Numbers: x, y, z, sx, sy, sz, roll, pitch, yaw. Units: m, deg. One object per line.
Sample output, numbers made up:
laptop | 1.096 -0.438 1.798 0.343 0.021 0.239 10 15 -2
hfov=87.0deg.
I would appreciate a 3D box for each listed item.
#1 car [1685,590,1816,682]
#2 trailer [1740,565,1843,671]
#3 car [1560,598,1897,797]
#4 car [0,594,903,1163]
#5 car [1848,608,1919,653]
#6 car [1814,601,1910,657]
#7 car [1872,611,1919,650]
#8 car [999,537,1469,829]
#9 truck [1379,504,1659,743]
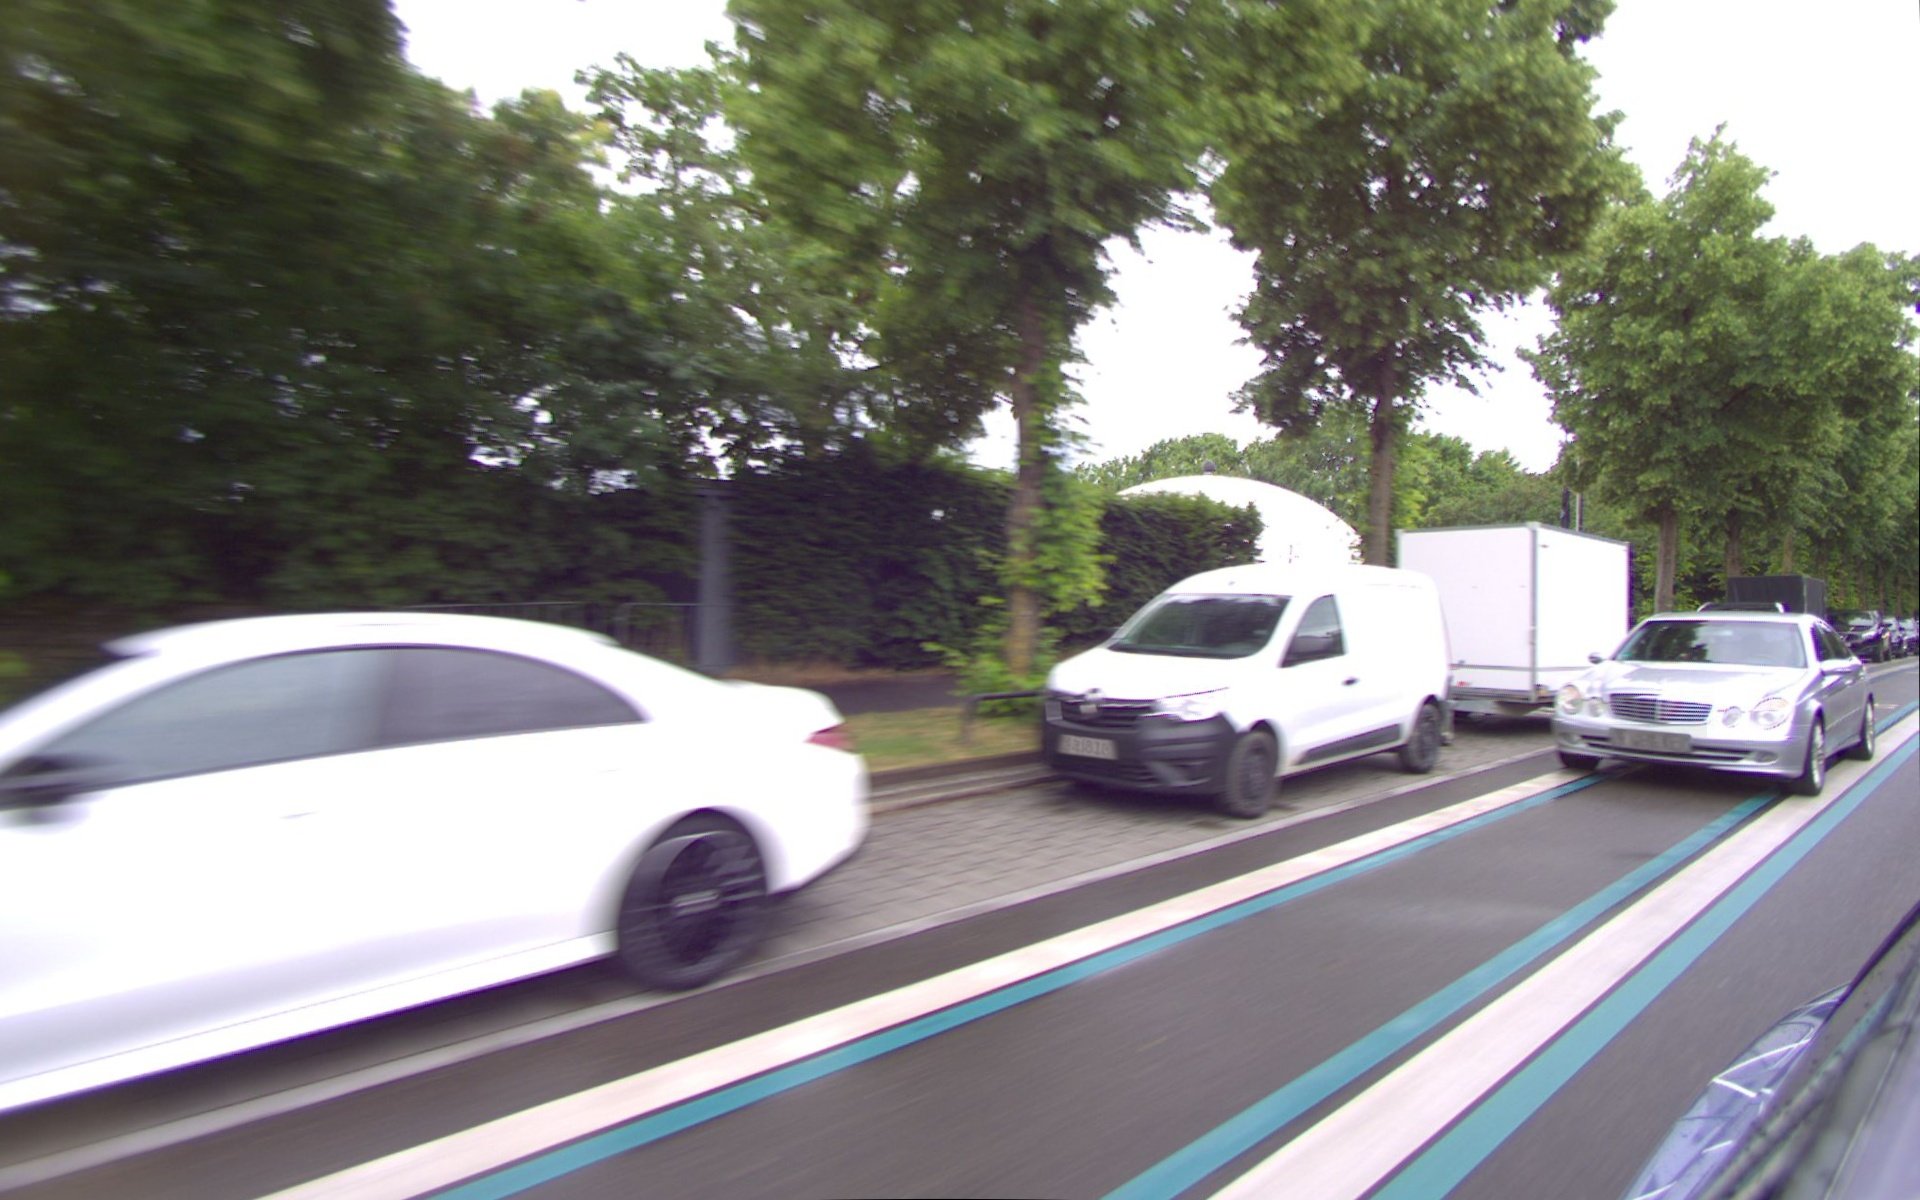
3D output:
car | 15.645 0.640 19.948 1.755 1.605 4.346 0 0 42
trailer | 19.433 0.403 23.612 3.502 2.298 1.348 1 -1 -42
car | 7.303 0.715 9.426 4.512 1.416 1.724 1 0 -42
car | -2.503 0.709 3.634 4.537 1.444 1.662 0 0 -41
car | 31.673 0.994 34.594 3.934 1.444 1.691 0 0 -44
car | 27.487 0.861 30.808 4.265 1.592 1.691 0 -2 -42
car | 36.093 1.119 38.520 4.014 1.400 1.687 0 -1 -43
car | 2.449 0.519 8.358 4.270 1.813 1.724 0 0 -42
truck | 6.720 0.236 11.994 3.931 2.363 1.721 1 0 -42
